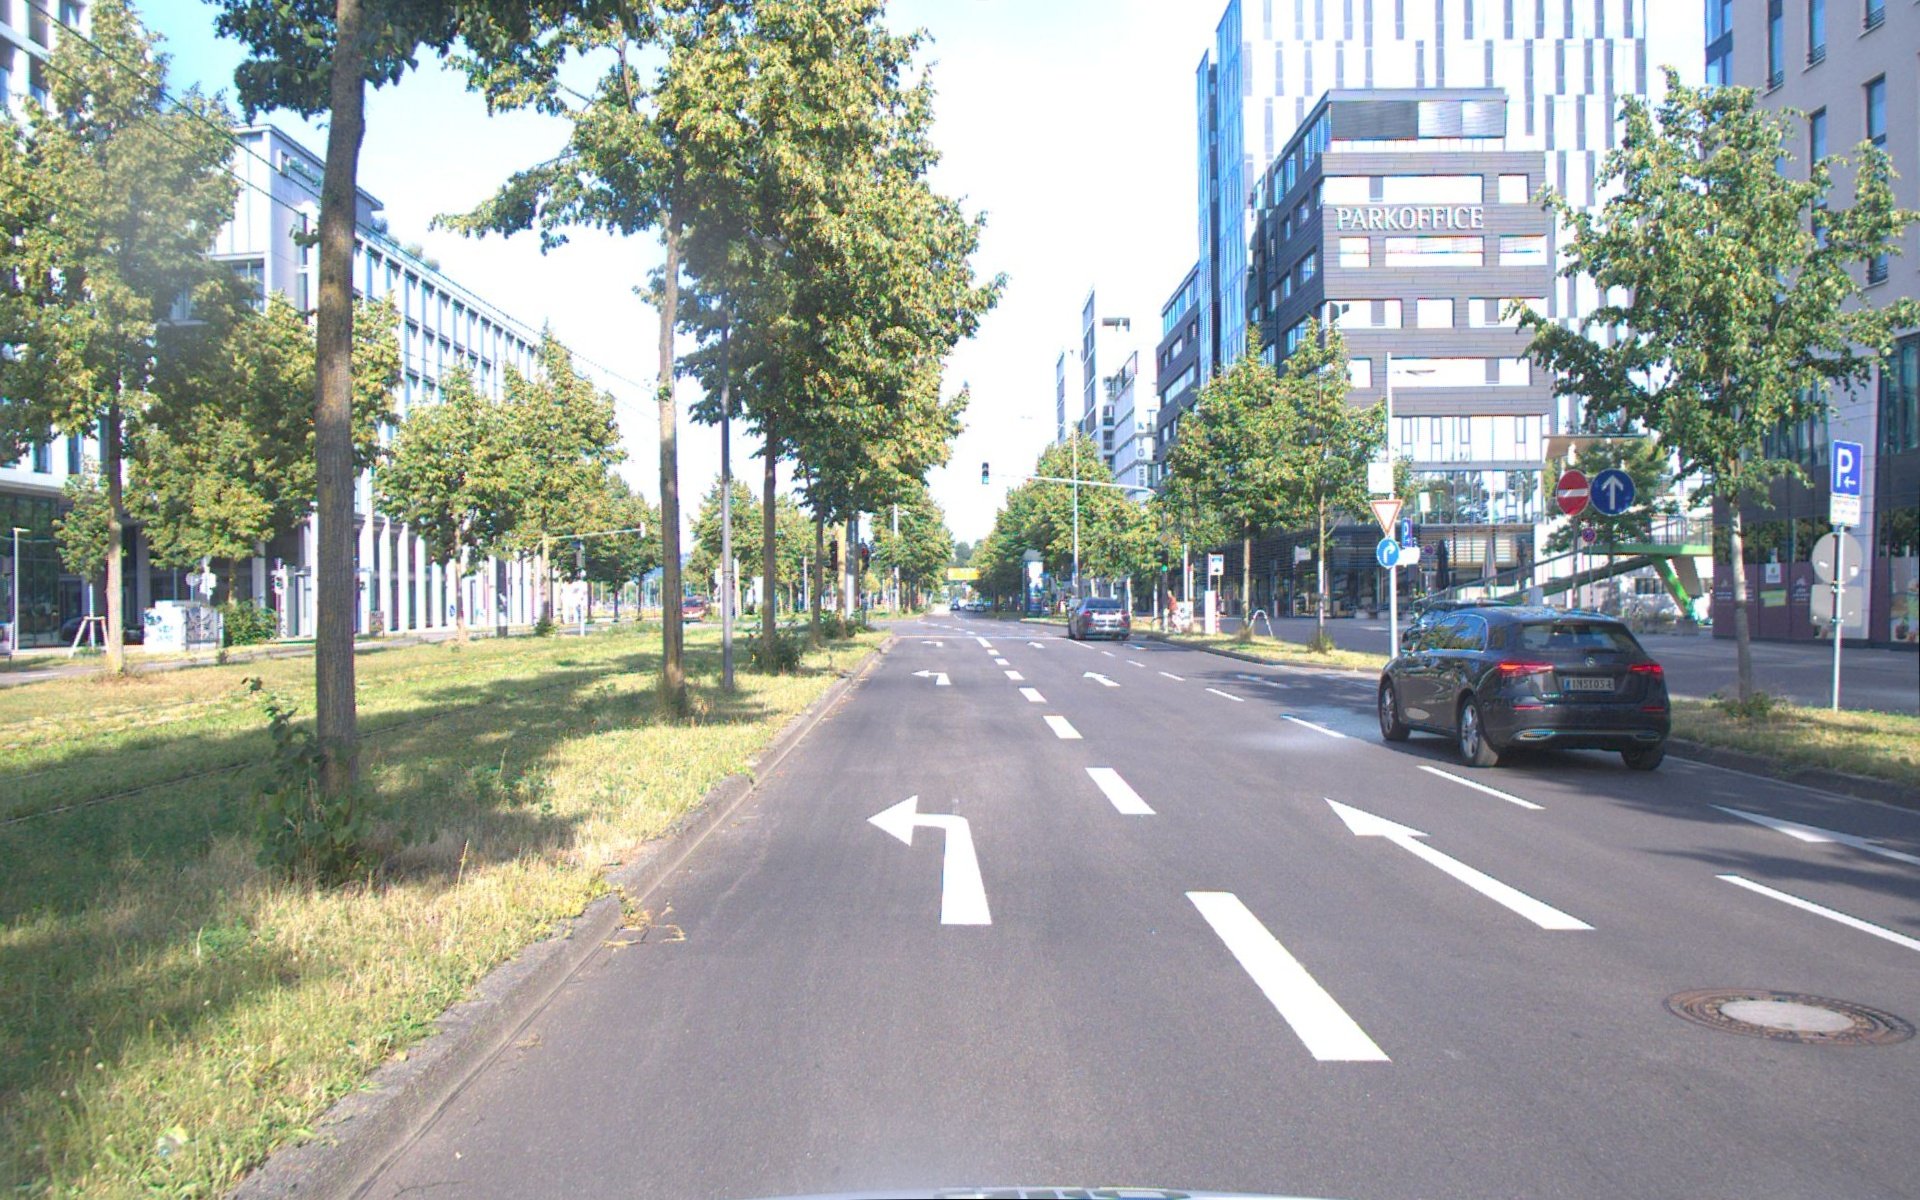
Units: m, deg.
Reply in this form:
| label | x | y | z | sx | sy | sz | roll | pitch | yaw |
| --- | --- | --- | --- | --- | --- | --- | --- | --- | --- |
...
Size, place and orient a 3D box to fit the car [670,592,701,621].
| label | x | y | z | sx | sy | sz | roll | pitch | yaw |
| --- | --- | --- | --- | --- | --- | --- | --- | --- | --- |
| car | -18.169 | 0.433 | 109.641 | 1.651 | 1.806 | 3.879 | 1 | 0 | -4 |

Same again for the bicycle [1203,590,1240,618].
| label | x | y | z | sx | sy | sz | roll | pitch | yaw |
| --- | --- | --- | --- | --- | --- | --- | --- | --- | --- |
| bicycle | 17.187 | 0.270 | 108.856 | 2.383 | 1.776 | 0.554 | 1 | -1 | 9 |

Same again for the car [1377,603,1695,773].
| label | x | y | z | sx | sy | sz | roll | pitch | yaw |
| --- | --- | --- | --- | --- | --- | --- | --- | --- | --- |
| car | 5.501 | 0.777 | 16.338 | 1.738 | 1.449 | 3.960 | 1 | 0 | 0 |

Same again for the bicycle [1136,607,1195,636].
| label | x | y | z | sx | sy | sz | roll | pitch | yaw |
| --- | --- | --- | --- | --- | --- | --- | --- | --- | --- |
| bicycle | 7.718 | 0.804 | 62.158 | 2.092 | 1.030 | 0.571 | 1 | -1 | -5 |

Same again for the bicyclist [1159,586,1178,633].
| label | x | y | z | sx | sy | sz | roll | pitch | yaw |
| --- | --- | --- | --- | --- | --- | --- | --- | --- | --- |
| bicyclist | 7.839 | 0.357 | 62.174 | 0.563 | 1.737 | 0.540 | 1 | -1 | -6 |

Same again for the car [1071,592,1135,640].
| label | x | y | z | sx | sy | sz | roll | pitch | yaw |
| --- | --- | --- | --- | --- | --- | --- | --- | --- | --- |
| car | 4.859 | 0.546 | 56.677 | 1.822 | 1.551 | 3.785 | 1 | 0 | -1 |

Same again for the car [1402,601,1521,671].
| label | x | y | z | sx | sy | sz | roll | pitch | yaw |
| --- | --- | --- | --- | --- | --- | --- | --- | --- | --- |
| car | 10.770 | 0.746 | 35.772 | 1.573 | 1.394 | 4.159 | 1 | 0 | 4 |

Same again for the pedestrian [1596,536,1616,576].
| label | x | y | z | sx | sy | sz | roll | pitch | yaw |
| --- | --- | --- | --- | --- | --- | --- | --- | --- | --- |
| pedestrian | 28.219 | -1.906 | 72.223 | 0.678 | 1.721 | 0.788 | 1 | -1 | 12 |
